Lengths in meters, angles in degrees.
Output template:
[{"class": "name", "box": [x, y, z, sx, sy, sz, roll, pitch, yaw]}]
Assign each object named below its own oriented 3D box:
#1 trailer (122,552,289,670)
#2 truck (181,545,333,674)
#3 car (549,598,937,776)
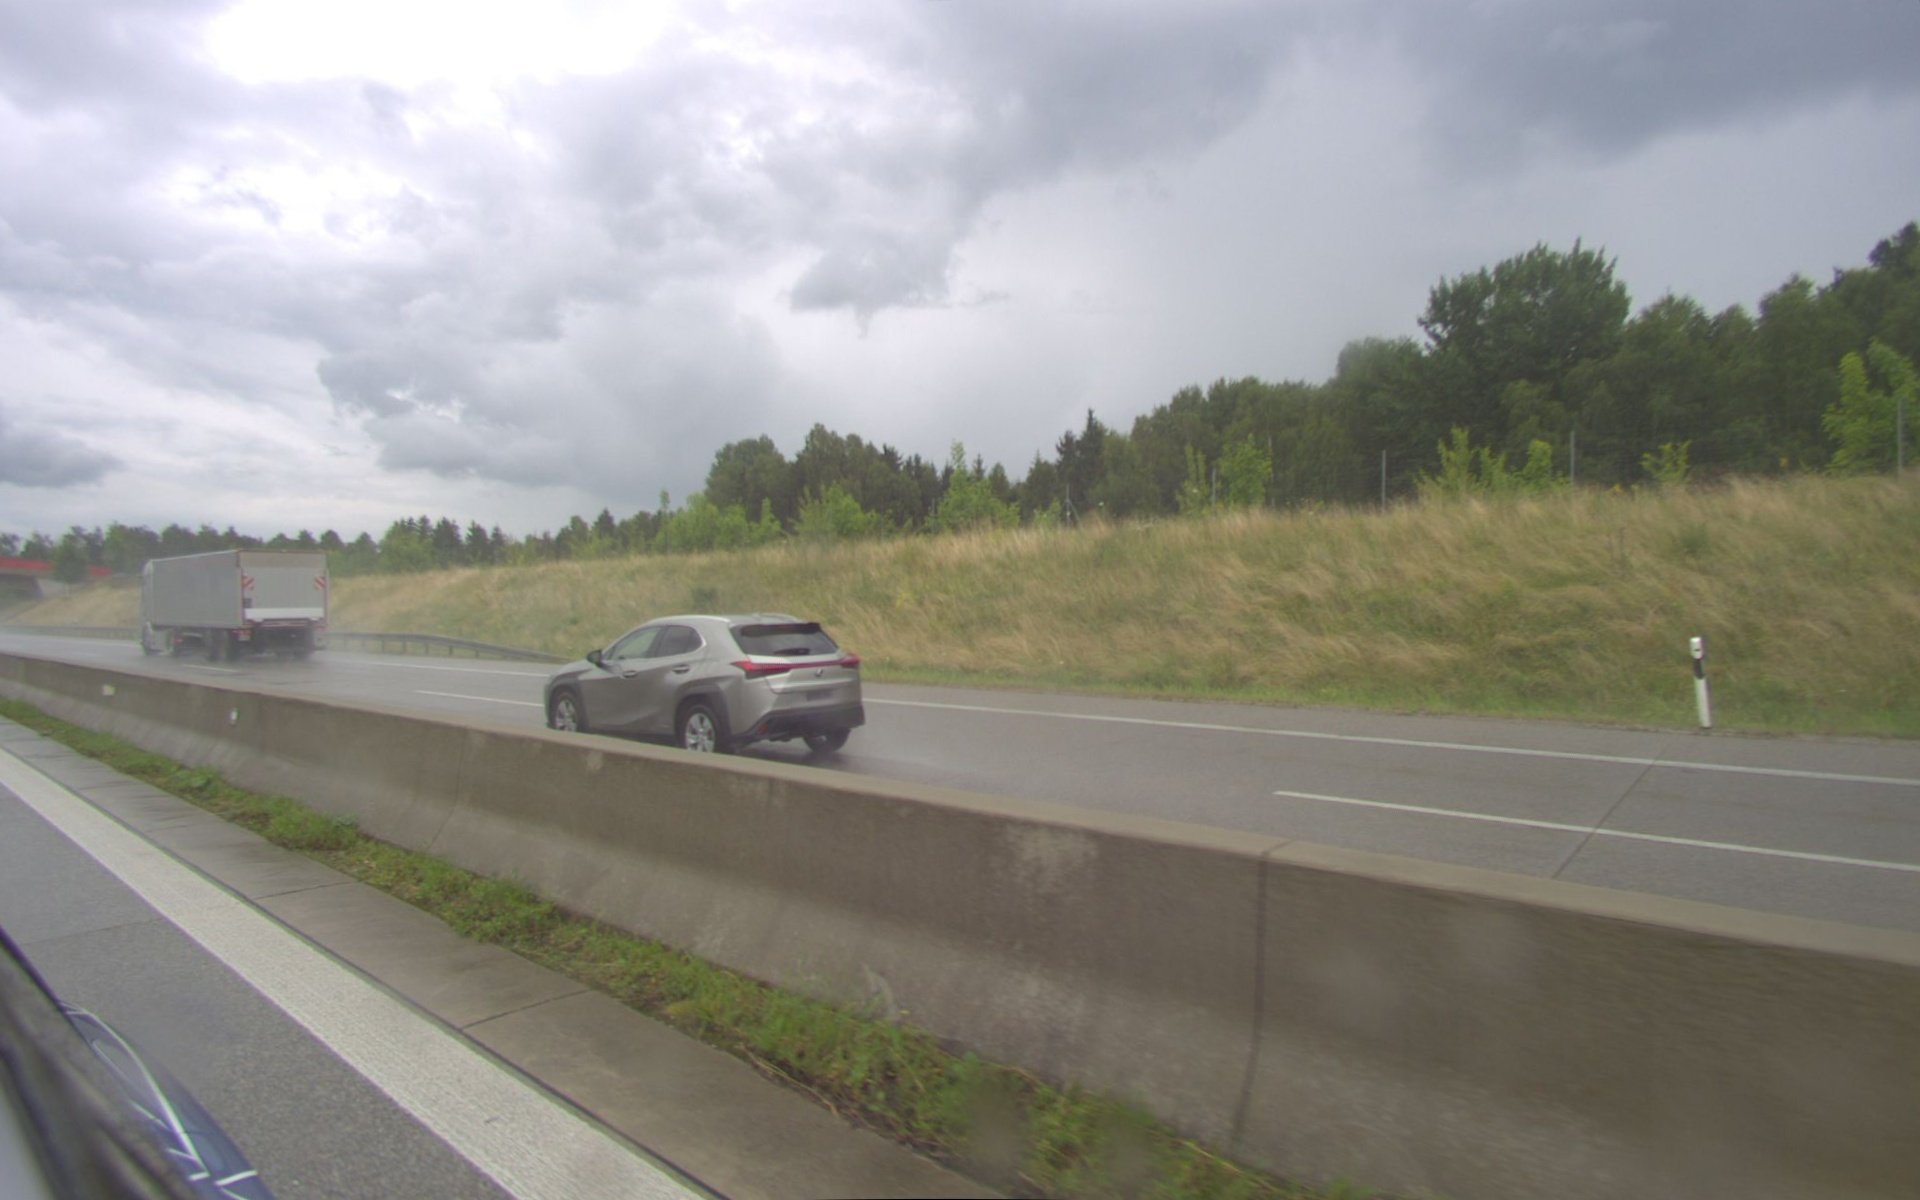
[{"class": "trailer", "box": [-28.143, 0.490, 37.548, 9.351, 3.870, 2.875, -2, -1, 40]}, {"class": "truck", "box": [-23.215, 0.334, 33.357, 5.190, 3.899, 2.856, -2, -1, 40]}, {"class": "car", "box": [-2.455, 0.908, 10.889, 4.186, 1.530, 1.973, -4, -5, 41]}]
